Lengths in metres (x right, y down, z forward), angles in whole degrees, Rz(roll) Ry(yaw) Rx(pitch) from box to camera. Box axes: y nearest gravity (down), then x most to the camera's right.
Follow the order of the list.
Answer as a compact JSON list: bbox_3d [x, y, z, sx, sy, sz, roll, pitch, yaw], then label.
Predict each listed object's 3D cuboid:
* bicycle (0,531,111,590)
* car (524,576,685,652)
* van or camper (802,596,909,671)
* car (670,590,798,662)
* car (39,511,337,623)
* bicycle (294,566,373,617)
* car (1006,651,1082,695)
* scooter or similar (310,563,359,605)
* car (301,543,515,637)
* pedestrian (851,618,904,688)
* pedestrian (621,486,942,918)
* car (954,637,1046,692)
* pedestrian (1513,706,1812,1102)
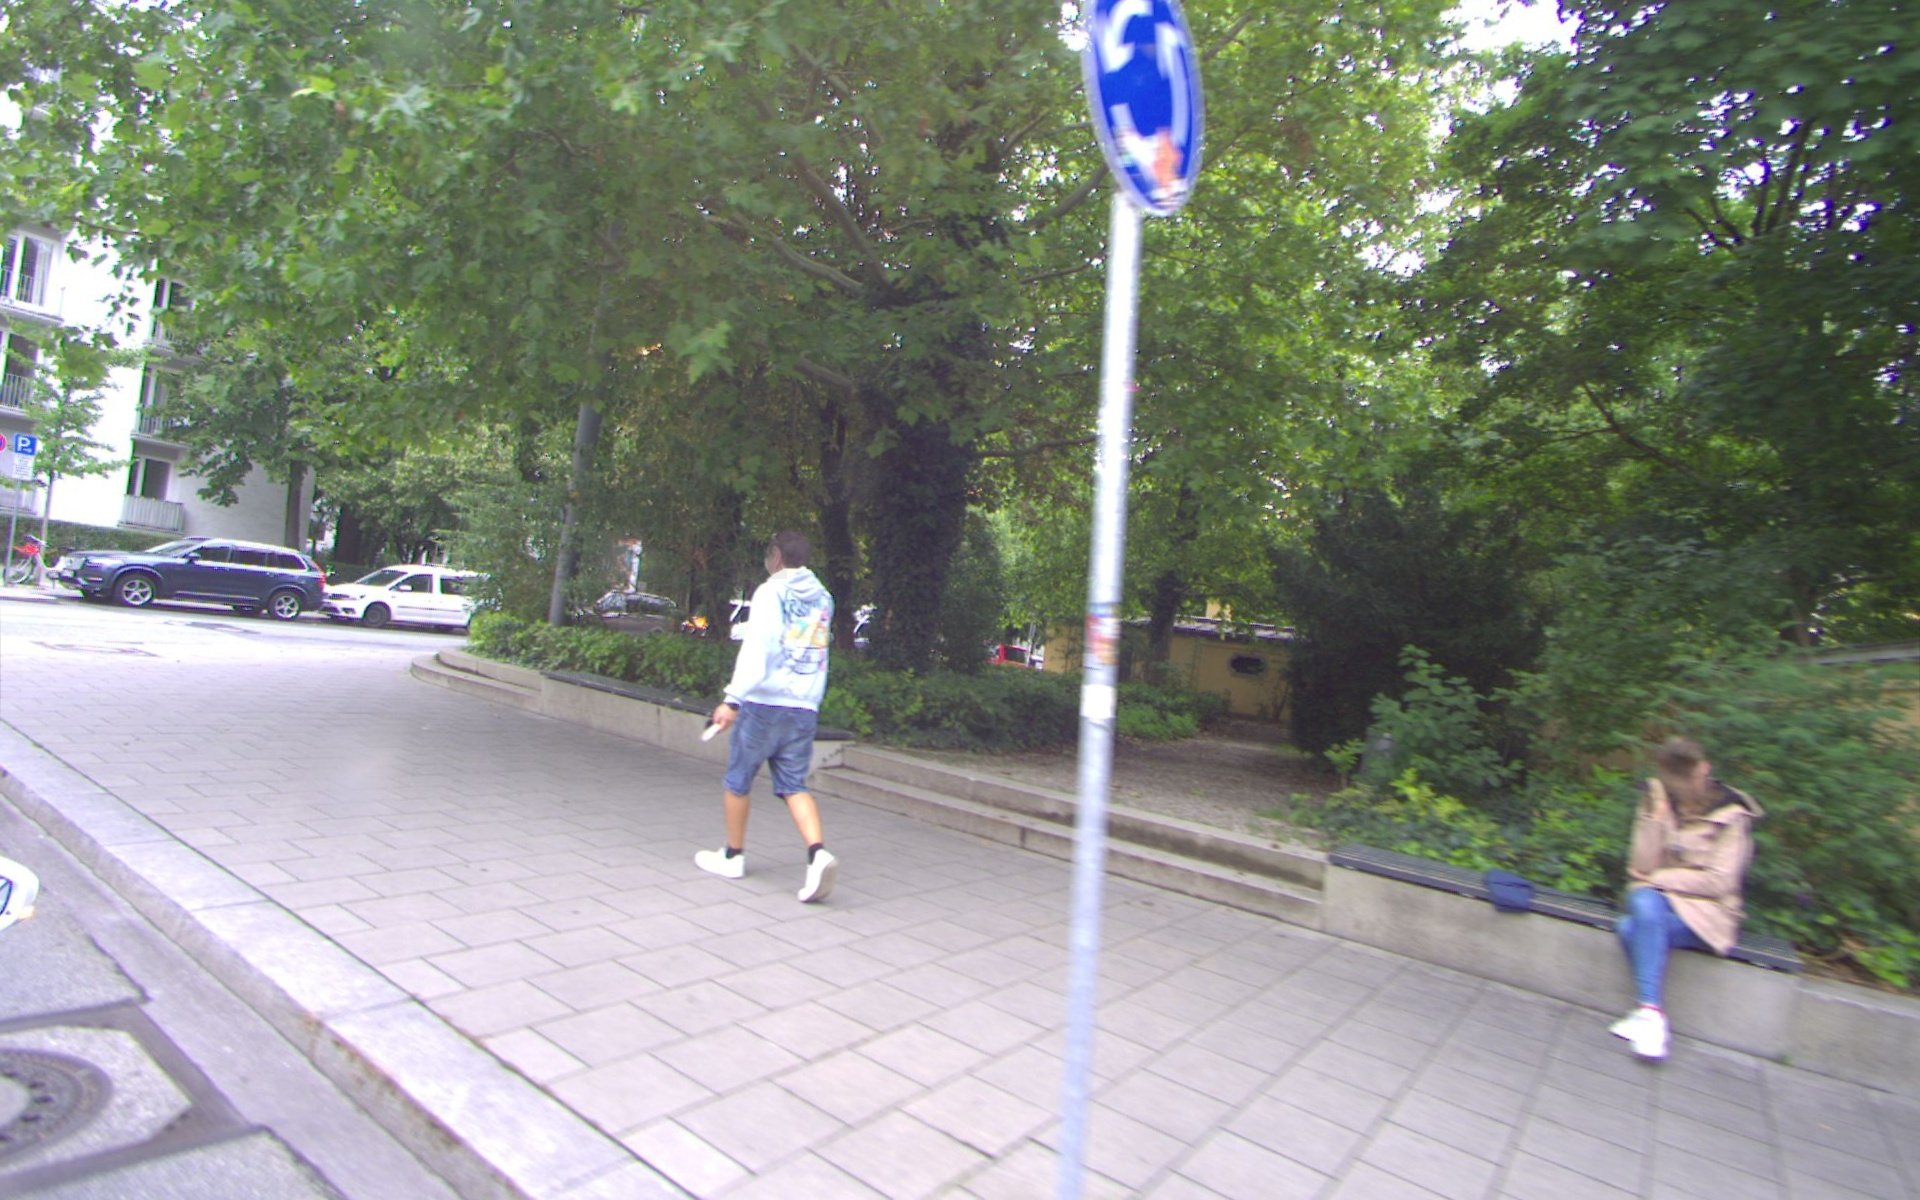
[{"bbox_3d":[-20.495,-0.868,22.785,0.483,1.061,1.831,7,-2,23],"label":"bicycle"},{"bbox_3d":[-11.840,0.559,33.960,1.860,1.955,5.210,6,-3,24],"label":"car"},{"bbox_3d":[-4.884,1.683,48.249,1.972,2.977,6.011,6,-3,26],"label":"van or camper"},{"bbox_3d":[-8.929,1.107,40.290,1.918,2.298,5.243,5,-3,26],"label":"car"},{"bbox_3d":[-17.457,-0.663,23.075,1.966,1.811,4.911,5,-3,29],"label":"car"},{"bbox_3d":[-17.417,-0.244,27.975,1.796,1.162,0.538,7,-1,6],"label":"bicycle"},{"bbox_3d":[3.949,3.412,46.590,1.962,1.626,4.323,5,-3,26],"label":"car"},{"bbox_3d":[-20.821,-0.529,33.497,0.393,1.207,1.214,6,-2,32],"label":"scooter or similar"},{"bbox_3d":[-15.061,-0.189,27.795,1.804,1.939,4.848,5,-3,28],"label":"car"},{"bbox_3d":[-2.335,1.515,28.569,0.861,1.852,1.051,6,-1,28],"label":"pedestrian"},{"bbox_3d":[-0.860,0.435,4.826,1.038,1.791,0.872,6,-2,43],"label":"pedestrian"},{"bbox_3d":[1.731,2.734,41.858,1.962,1.859,4.715,5,-3,26],"label":"car"},{"bbox_3d":[3.090,1.218,4.413,0.864,1.353,1.009,6,-2,40],"label":"pedestrian"}]
